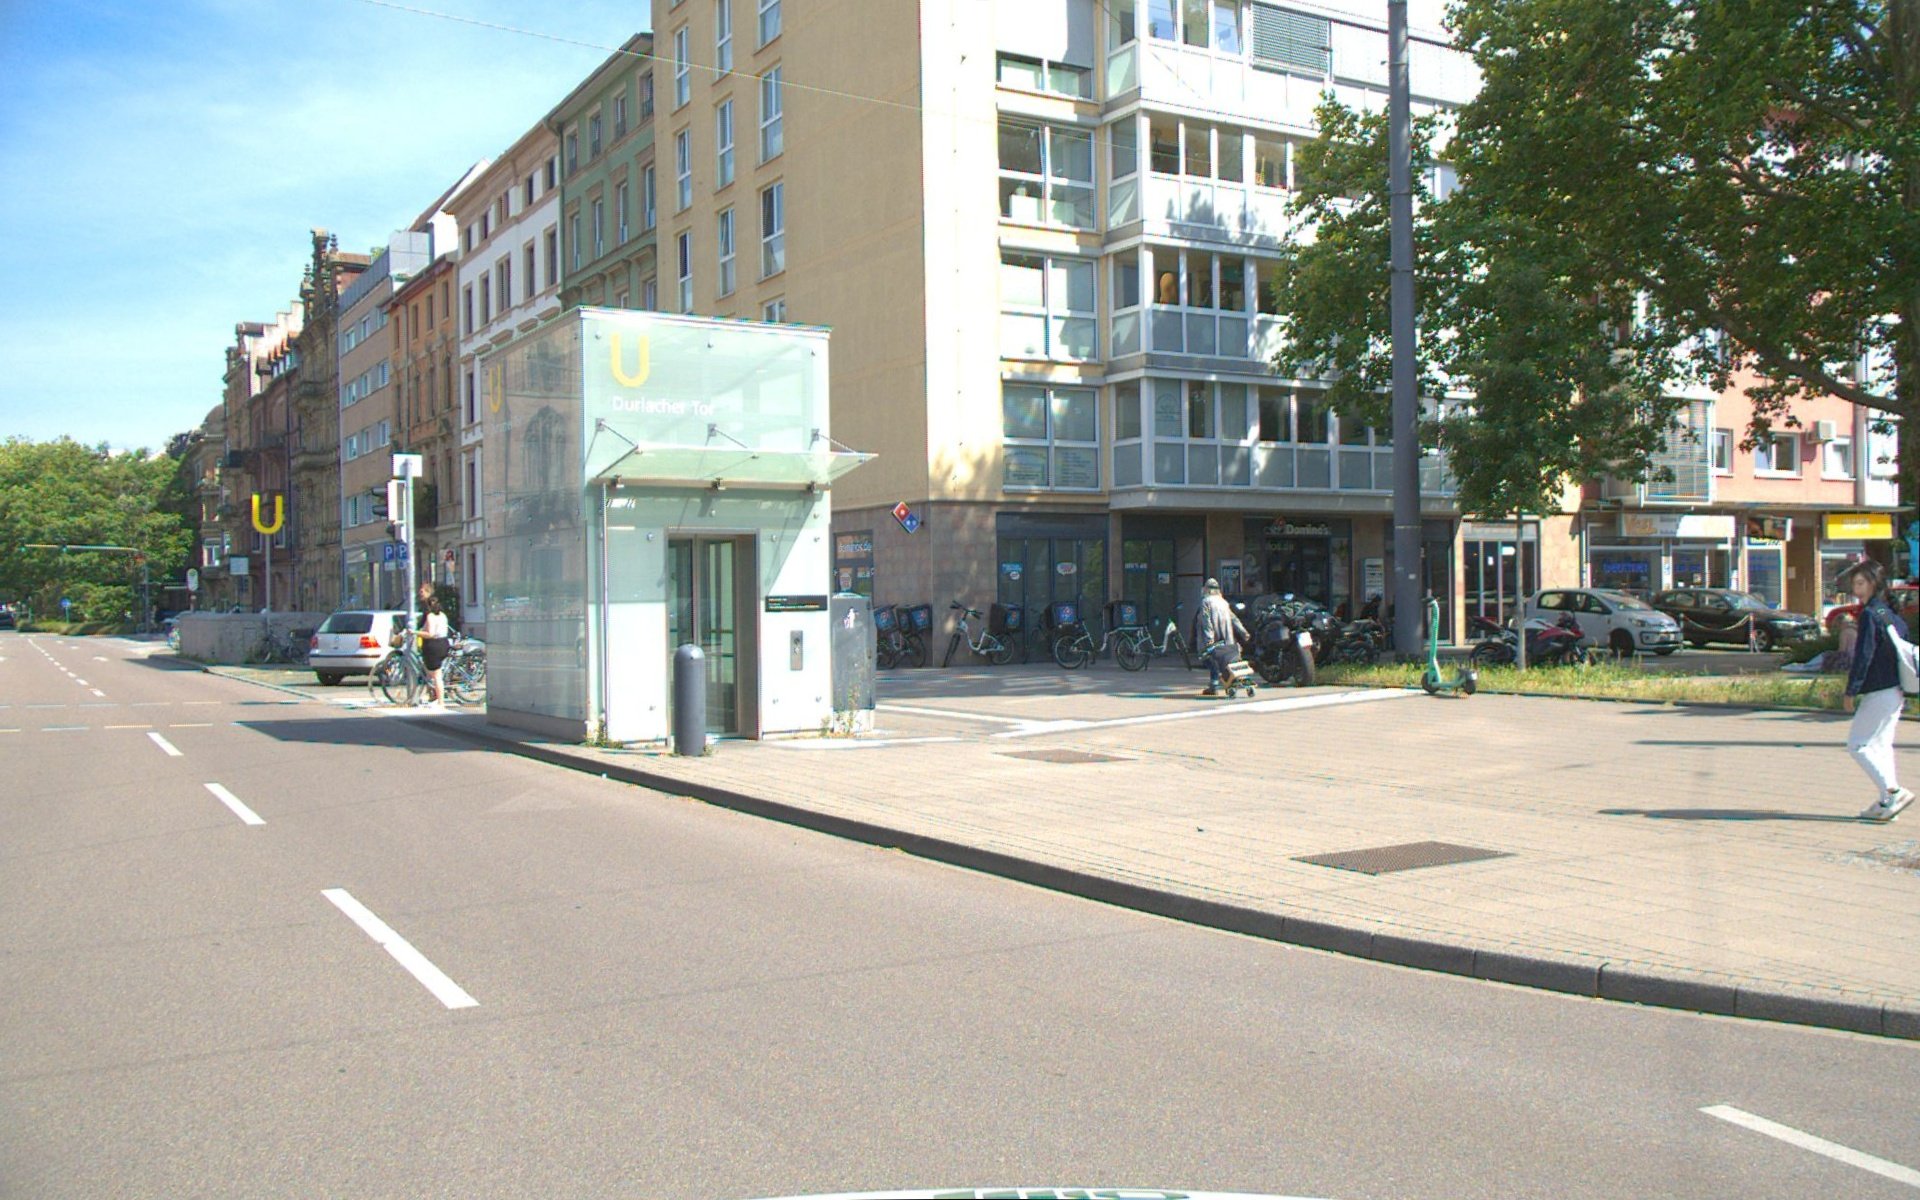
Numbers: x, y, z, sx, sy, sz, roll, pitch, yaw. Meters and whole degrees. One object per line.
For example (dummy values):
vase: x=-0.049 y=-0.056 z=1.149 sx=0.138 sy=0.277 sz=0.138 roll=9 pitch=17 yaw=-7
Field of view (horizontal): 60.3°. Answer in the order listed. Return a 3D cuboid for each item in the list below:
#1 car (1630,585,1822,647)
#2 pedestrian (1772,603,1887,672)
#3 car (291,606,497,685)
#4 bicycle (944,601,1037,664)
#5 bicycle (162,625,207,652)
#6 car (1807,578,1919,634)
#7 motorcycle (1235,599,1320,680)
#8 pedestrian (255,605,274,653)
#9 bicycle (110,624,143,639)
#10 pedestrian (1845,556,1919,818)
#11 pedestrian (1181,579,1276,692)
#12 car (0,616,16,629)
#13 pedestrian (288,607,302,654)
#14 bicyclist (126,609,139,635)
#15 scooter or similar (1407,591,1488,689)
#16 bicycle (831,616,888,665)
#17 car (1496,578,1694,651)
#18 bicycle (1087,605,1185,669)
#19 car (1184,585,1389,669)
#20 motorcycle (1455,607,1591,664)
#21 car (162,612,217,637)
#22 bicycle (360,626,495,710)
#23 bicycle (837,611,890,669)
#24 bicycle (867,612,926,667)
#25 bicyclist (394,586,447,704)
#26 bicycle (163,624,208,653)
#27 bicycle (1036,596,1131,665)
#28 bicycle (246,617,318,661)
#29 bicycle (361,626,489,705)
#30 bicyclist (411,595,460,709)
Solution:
car: x=18.320 y=0.349 z=39.719 sx=1.719 sy=1.292 sz=3.961 roll=-1 pitch=2 yaw=-30
pedestrian: x=12.137 y=0.515 z=23.102 sx=0.812 sy=0.908 sz=1.163 roll=-1 pitch=0 yaw=-33
car: x=-11.205 y=0.893 z=33.053 sx=1.770 sy=1.465 sz=4.000 roll=0 pitch=-1 yaw=20
bicycle: x=0.627 y=0.649 z=33.426 sx=1.863 sy=1.206 sz=0.536 roll=-1 pitch=0 yaw=-29
bicycle: x=-28.860 y=1.442 z=61.551 sx=1.446 sy=0.963 sz=0.411 roll=-1 pitch=-1 yaw=-32
car: x=24.874 y=0.147 z=44.160 sx=1.720 sy=1.363 sz=3.699 roll=-1 pitch=2 yaw=-30
motorcycle: x=4.494 y=0.537 z=23.542 sx=0.626 sy=1.080 sz=2.036 roll=-1 pitch=0 yaw=-6
pedestrian: x=-25.107 y=1.043 z=59.699 sx=0.547 sy=1.694 sz=0.520 roll=-1 pitch=0 yaw=-31
bicycle: x=-53.773 y=2.025 z=106.716 sx=0.475 sy=0.878 sz=1.812 roll=2 pitch=2 yaw=44
pedestrian: x=5.994 y=0.537 z=10.629 sx=0.446 sy=1.632 sz=0.398 roll=2 pitch=2 yaw=40
pedestrian: x=3.490 y=0.473 z=21.552 sx=0.649 sy=1.429 sz=1.104 roll=2 pitch=-3 yaw=-34
car: x=-107.058 y=2.528 z=185.433 sx=1.882 sy=1.400 sz=3.772 roll=-1 pitch=0 yaw=-33
pedestrian: x=-24.157 y=1.098 z=60.089 sx=0.367 sy=1.694 sz=0.520 roll=-1 pitch=0 yaw=-31
bicyclist: x=-53.523 y=1.431 z=106.952 sx=0.475 sy=1.619 sz=0.637 roll=2 pitch=2 yaw=44
scooter or similar: x=5.920 y=0.471 z=20.144 sx=0.505 sy=1.139 sz=1.363 roll=-1 pitch=0 yaw=-3
bicycle: x=-2.123 y=0.834 z=34.846 sx=0.575 sy=0.982 sz=1.742 roll=-2 pitch=0 yaw=-25
car: x=14.371 y=0.275 z=37.636 sx=1.865 sy=1.465 sz=3.961 roll=-1 pitch=2 yaw=-30
bicycle: x=3.311 y=0.688 z=31.045 sx=1.726 sy=1.105 sz=0.580 roll=-2 pitch=0 yaw=-21
car: x=6.237 y=0.508 z=31.994 sx=1.636 sy=1.496 sz=4.052 roll=2 pitch=-1 yaw=-30
motorcycle: x=8.840 y=0.564 z=25.995 sx=1.989 sy=0.856 sz=0.641 roll=-1 pitch=0 yaw=20
car: x=-62.100 y=1.973 z=133.279 sx=3.944 sy=1.780 sz=1.981 roll=-1 pitch=2 yaw=-29
bicycle: x=-7.617 y=0.964 z=23.732 sx=1.760 sy=1.150 sz=0.752 roll=-1 pitch=-1 yaw=-14
bicycle: x=-1.956 y=0.795 z=33.370 sx=0.573 sy=1.104 sz=1.747 roll=-4 pitch=1 yaw=-18
bicycle: x=-1.296 y=0.781 z=33.411 sx=0.574 sy=1.061 sz=1.744 roll=-2 pitch=0 yaw=-23
bicyclist: x=-8.182 y=0.674 z=25.067 sx=0.611 sy=1.765 sz=0.576 roll=0 pitch=-1 yaw=-37
bicycle: x=-28.643 y=1.426 z=61.166 sx=1.446 sy=0.993 sz=0.411 roll=-1 pitch=2 yaw=-32
bicycle: x=2.390 y=0.576 z=31.960 sx=1.726 sy=1.240 sz=0.580 roll=-2 pitch=0 yaw=-21
bicycle: x=-18.315 y=1.048 z=44.705 sx=1.725 sy=1.113 sz=0.591 roll=-1 pitch=1 yaw=-31
bicycle: x=-8.149 y=0.982 z=25.241 sx=1.778 sy=1.150 sz=0.576 roll=0 pitch=-1 yaw=-38
bicyclist: x=-7.518 y=0.738 z=23.721 sx=0.600 sy=1.600 sz=0.730 roll=-1 pitch=-1 yaw=-13
